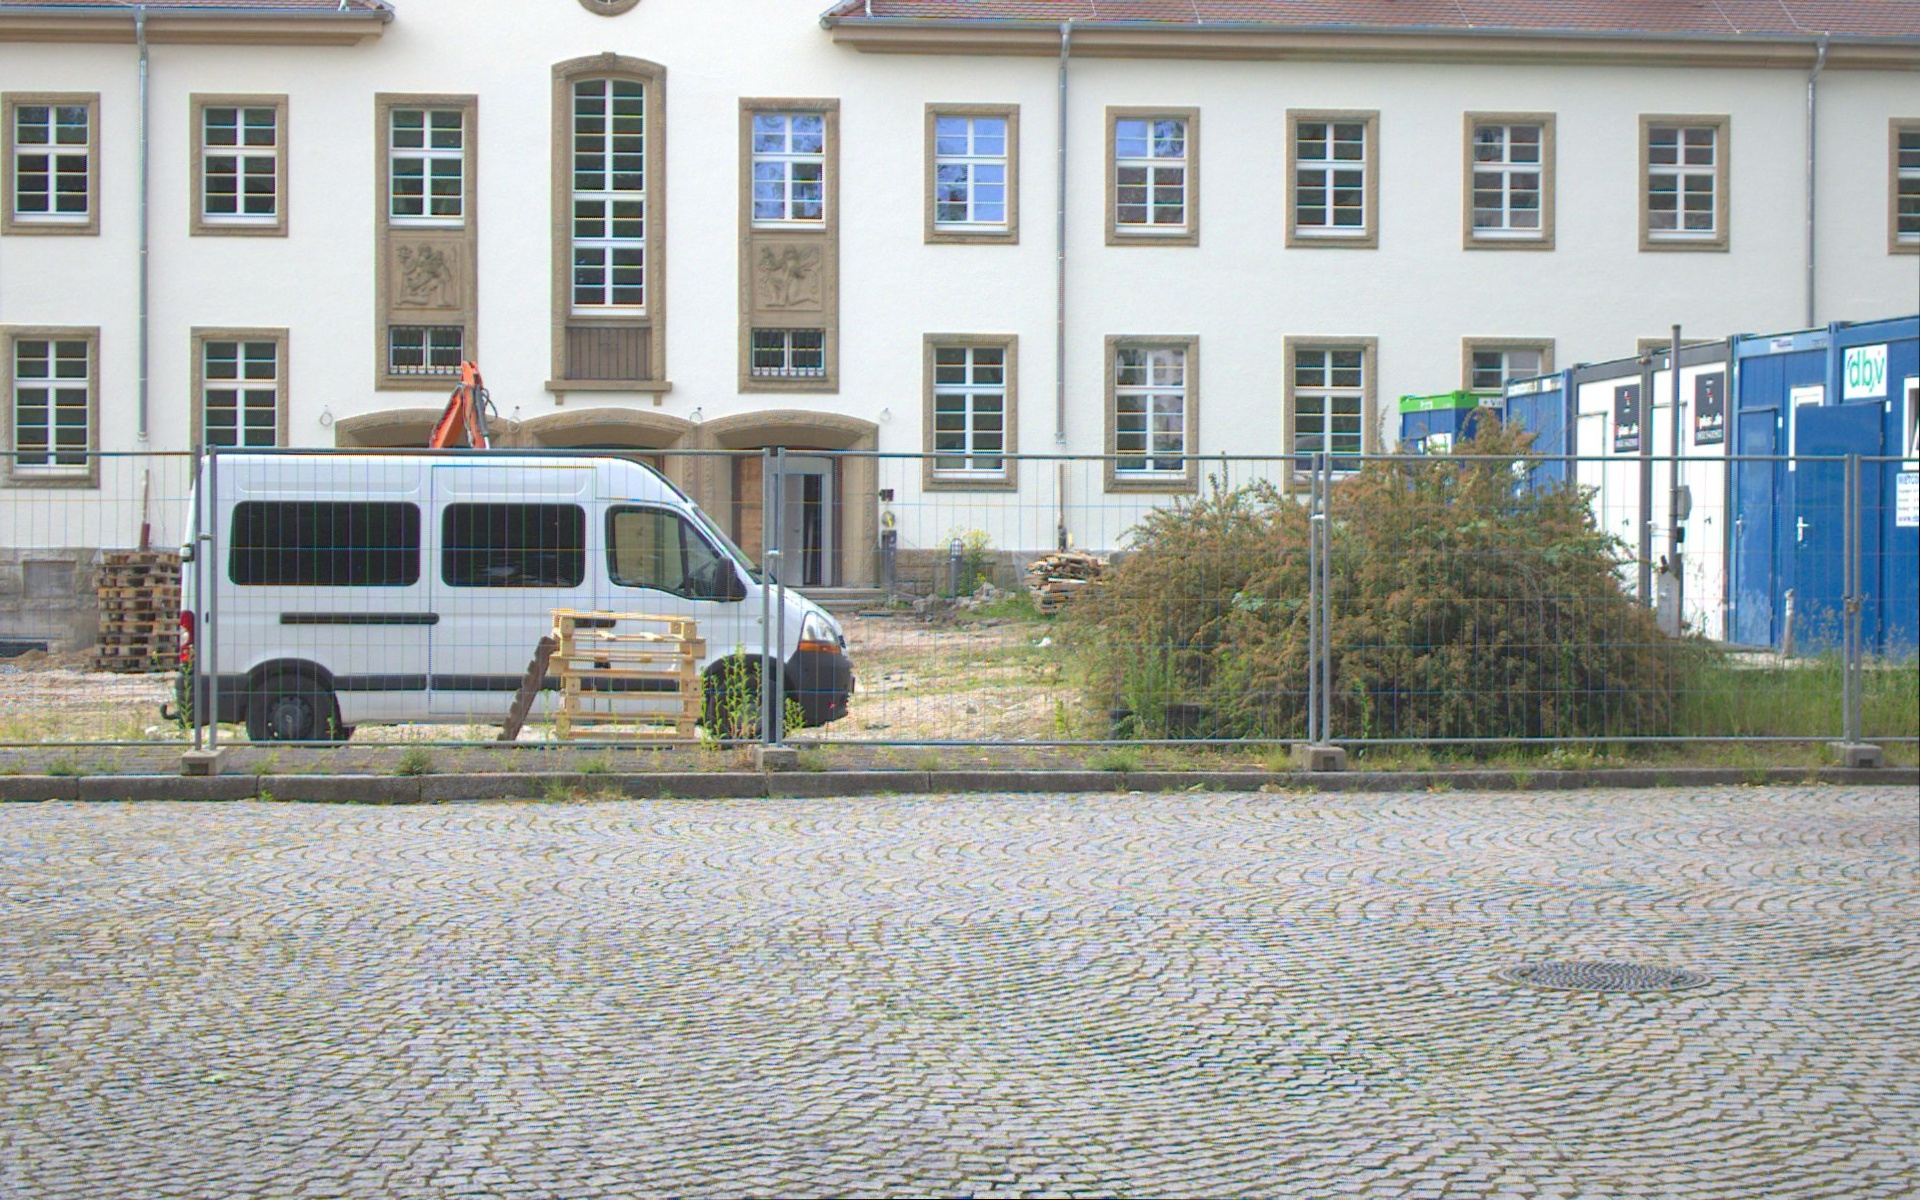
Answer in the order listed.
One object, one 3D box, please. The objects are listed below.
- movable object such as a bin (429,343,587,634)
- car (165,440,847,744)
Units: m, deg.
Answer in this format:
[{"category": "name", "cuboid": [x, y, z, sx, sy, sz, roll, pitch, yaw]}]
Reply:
[{"category": "movable object such as a bin", "cuboid": [-6.267, -1.488, 47.219, 1.993, 3.758, 5.319, 0, 1, -9]}, {"category": "car", "cuboid": [-3.582, -0.072, 27.726, 5.262, 2.336, 1.910, 0, 1, -4]}]
